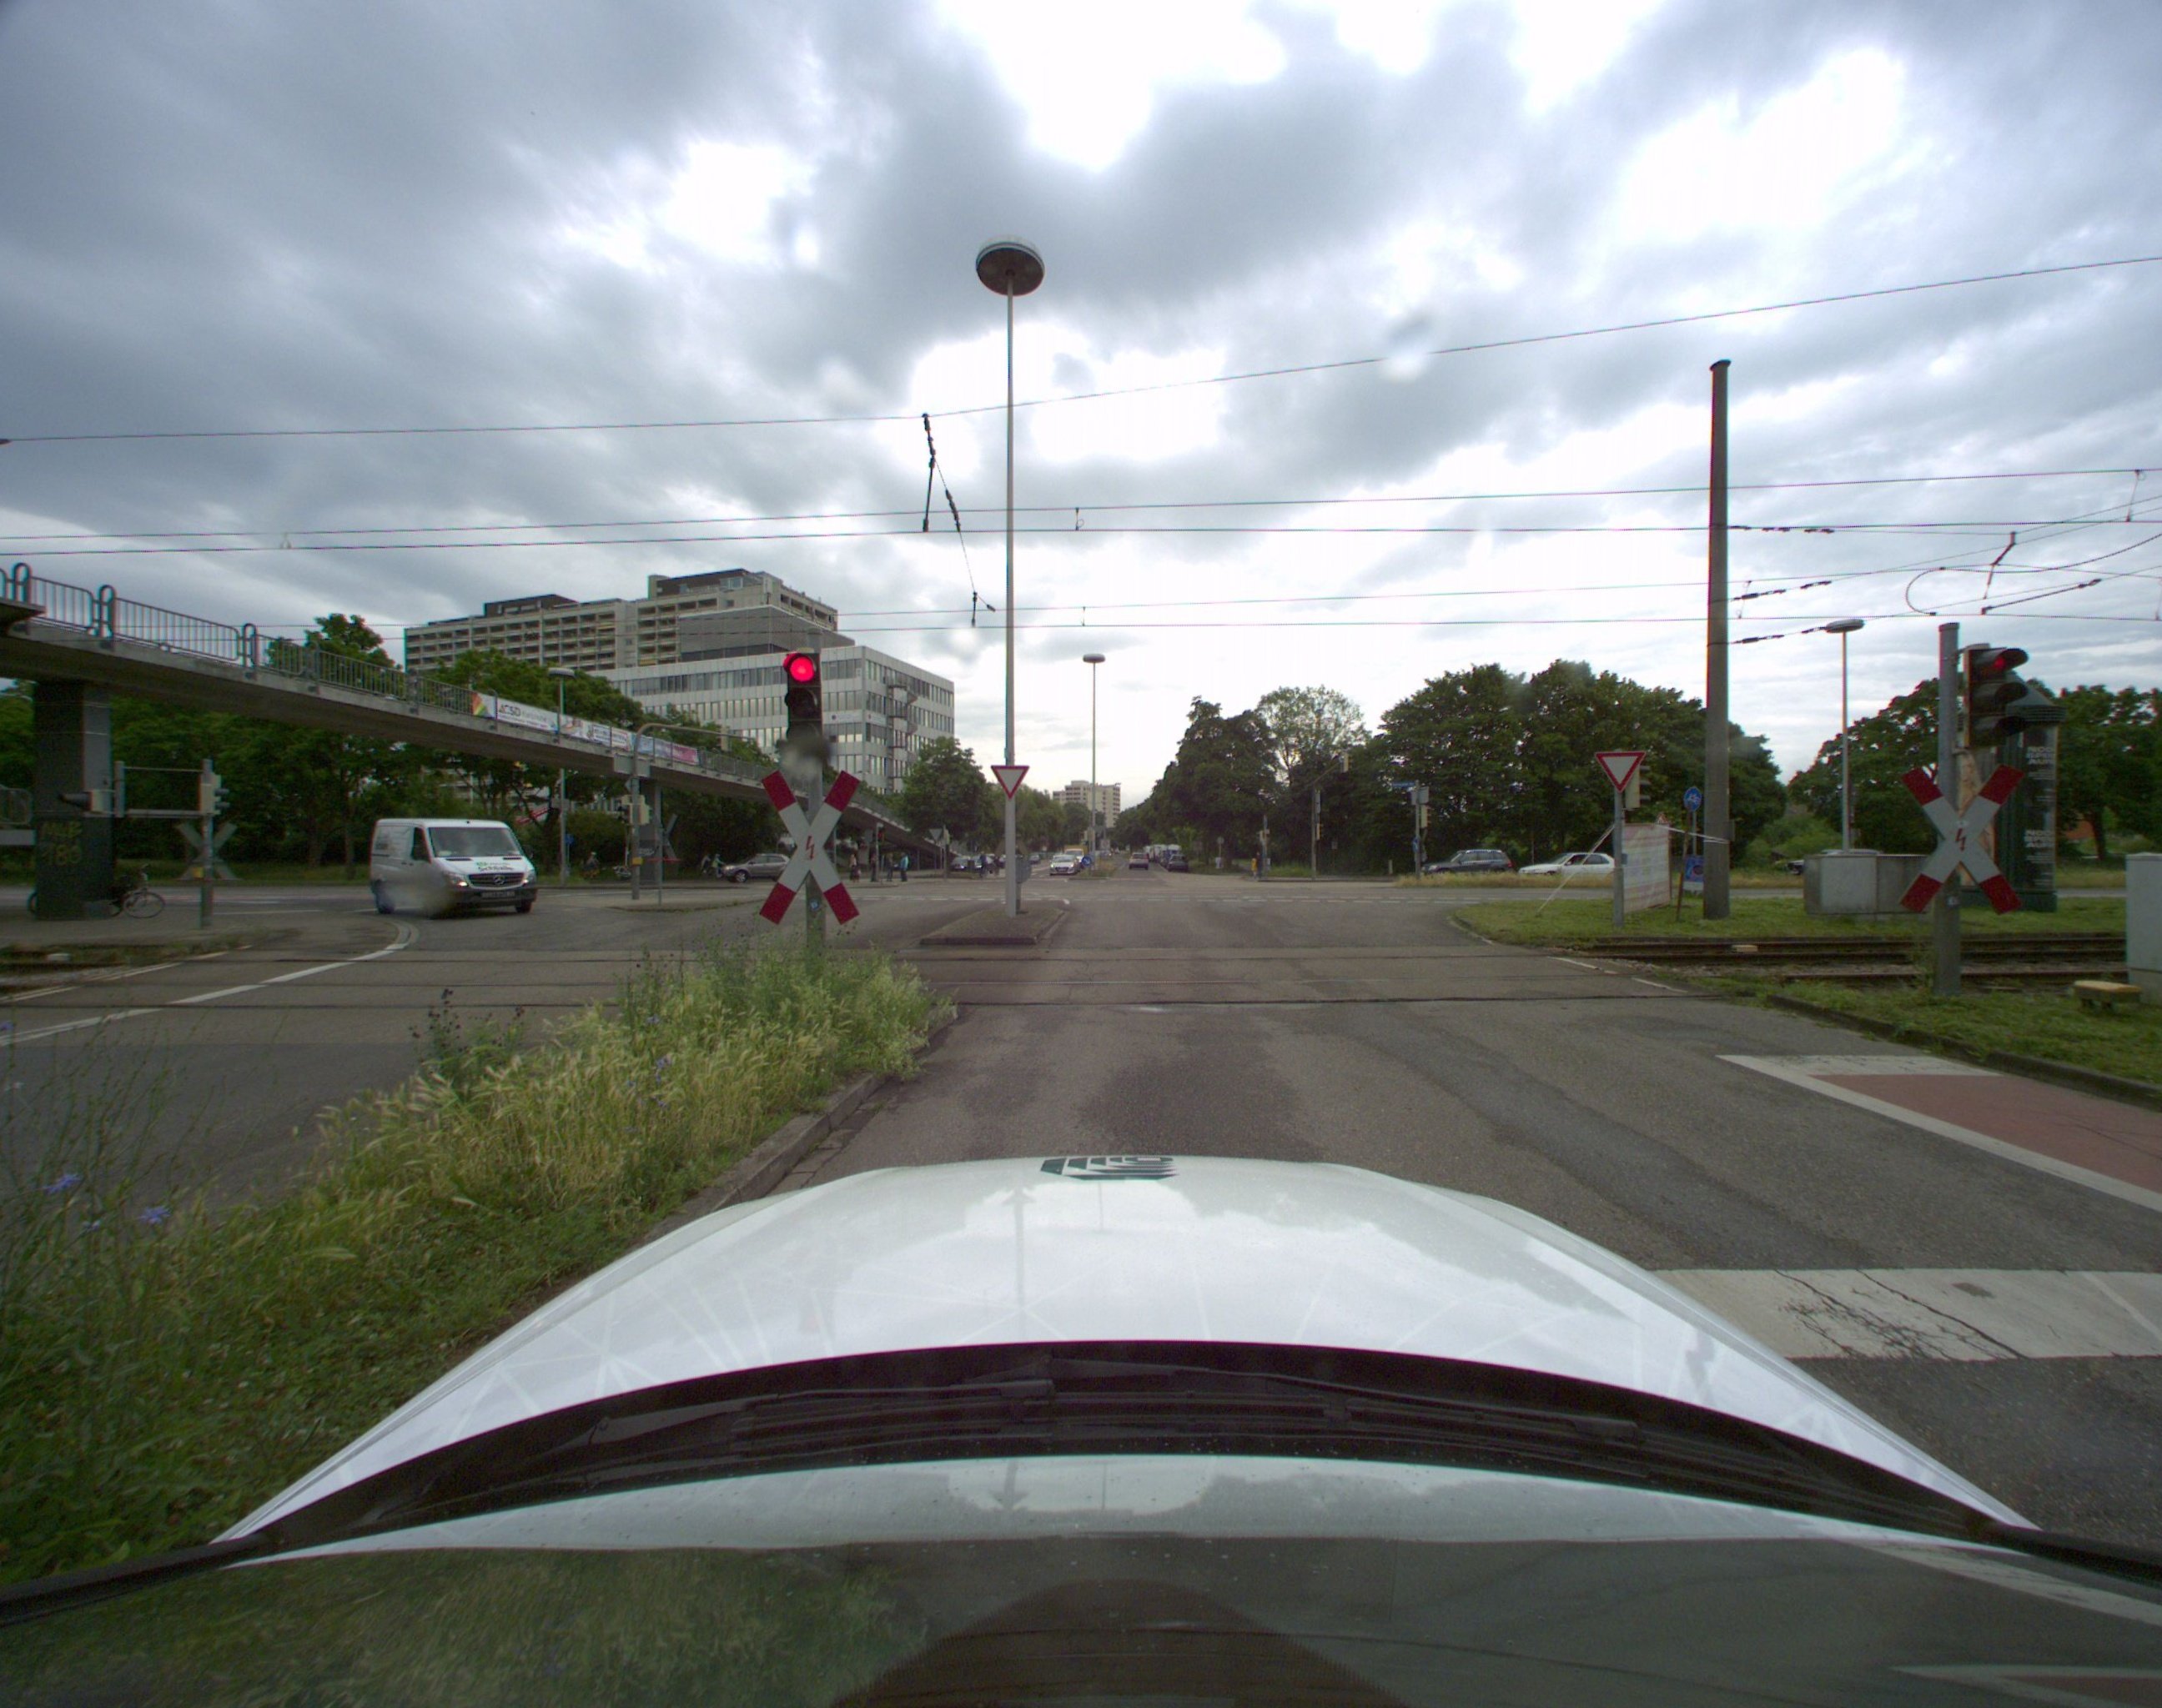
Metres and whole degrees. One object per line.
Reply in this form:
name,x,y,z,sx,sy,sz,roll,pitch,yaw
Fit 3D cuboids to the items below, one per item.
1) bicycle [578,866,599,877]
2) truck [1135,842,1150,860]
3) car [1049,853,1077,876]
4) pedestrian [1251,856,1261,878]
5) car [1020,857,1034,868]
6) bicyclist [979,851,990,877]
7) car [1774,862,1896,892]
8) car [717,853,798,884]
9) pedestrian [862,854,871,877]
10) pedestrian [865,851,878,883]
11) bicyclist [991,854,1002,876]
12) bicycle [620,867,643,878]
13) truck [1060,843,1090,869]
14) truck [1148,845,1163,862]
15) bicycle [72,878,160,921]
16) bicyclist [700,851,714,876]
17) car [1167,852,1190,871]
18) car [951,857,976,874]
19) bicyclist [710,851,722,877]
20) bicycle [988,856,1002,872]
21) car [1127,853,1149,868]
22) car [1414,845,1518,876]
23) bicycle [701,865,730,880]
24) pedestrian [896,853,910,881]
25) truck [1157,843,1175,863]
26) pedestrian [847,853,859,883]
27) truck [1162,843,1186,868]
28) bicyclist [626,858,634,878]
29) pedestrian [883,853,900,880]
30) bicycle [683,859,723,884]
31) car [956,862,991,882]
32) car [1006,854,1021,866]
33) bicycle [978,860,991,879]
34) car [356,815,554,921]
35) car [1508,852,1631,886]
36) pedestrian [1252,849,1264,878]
bicycle,-31.798,1.135,52.551,1.145,0.668,0.265,0,0,-6
truck,10.797,-0.445,142.903,1.988,3.009,5.768,0,-1,-1
car,-1.225,0.728,58.084,1.782,1.519,4.327,0,0,2
pedestrian,10.704,0.778,49.779,0.525,1.342,0.525,0,0,1
car,-8.332,1.306,126.245,1.665,1.552,4.003,0,0,3
bicyclist,-6.630,0.674,55.870,0.642,1.768,0.647,0,0,1
car,38.094,1.138,41.228,4.447,1.440,1.847,0,0,2
car,-19.297,0.829,48.618,4.229,1.734,1.610,0,0,-40
pedestrian,-15.037,0.810,57.150,0.580,1.579,0.777,0,0,-16
pedestrian,-11.892,0.742,46.242,0.636,1.803,0.800,0,0,-7
bicyclist,-6.207,0.816,59.627,0.676,1.594,0.695,0,-1,1
bicycle,-29.089,1.180,52.687,1.303,0.692,0.287,0,0,-34
truck,-0.471,0.174,72.204,2.146,2.199,5.846,0,0,4
truck,12.102,-0.066,132.068,1.987,2.573,5.377,0,-1,0
bicycle,-21.740,1.018,18.345,2.017,0.921,0.375,0,0,13
bicyclist,-24.787,0.610,53.959,0.752,1.625,0.522,0,-1,-32
car,8.799,0.622,73.881,1.777,1.662,4.002,0,0,2
car,-11.203,1.044,78.080,1.665,1.552,3.894,0,0,3
bicyclist,-23.648,0.650,52.749,0.563,1.644,0.532,0,-1,2
bicycle,-6.252,0.734,59.157,0.724,1.101,2.265,0,0,2
car,5.557,0.619,79.790,2.013,1.505,4.002,0,0,2
car,19.556,0.330,41.502,4.447,1.504,1.847,0,0,2
bicycle,-23.615,1.179,52.667,0.628,0.925,2.524,0,0,2
pedestrian,-10.080,0.743,46.204,0.685,1.605,0.487,0,0,-3
truck,12.504,-0.174,119.977,1.988,2.838,5.727,0,0,-2
pedestrian,-12.891,0.803,46.110,0.619,1.691,0.403,0,0,-12
truck,10.279,0.209,90.658,2.166,2.656,6.249,-1,0,2
bicyclist,-29.154,0.914,52.652,0.385,1.303,0.275,0,0,-34
pedestrian,-10.750,0.718,46.294,0.917,1.511,0.402,0,0,-10
bicycle,-24.974,1.115,53.848,2.374,1.625,0.522,0,-1,-32
car,-8.826,1.437,67.260,1.661,1.552,4.012,0,0,10
car,-8.993,0.796,108.292,1.438,1.552,3.667,0,0,3
bicycle,-6.620,1.042,55.959,0.541,1.267,2.112,0,0,2
car,-15.416,0.280,19.973,5.141,2.292,2.155,0,2,33
car,20.322,0.625,33.976,4.120,1.357,1.648,0,0,2
pedestrian,10.662,0.582,49.135,0.654,1.750,0.459,0,0,1
